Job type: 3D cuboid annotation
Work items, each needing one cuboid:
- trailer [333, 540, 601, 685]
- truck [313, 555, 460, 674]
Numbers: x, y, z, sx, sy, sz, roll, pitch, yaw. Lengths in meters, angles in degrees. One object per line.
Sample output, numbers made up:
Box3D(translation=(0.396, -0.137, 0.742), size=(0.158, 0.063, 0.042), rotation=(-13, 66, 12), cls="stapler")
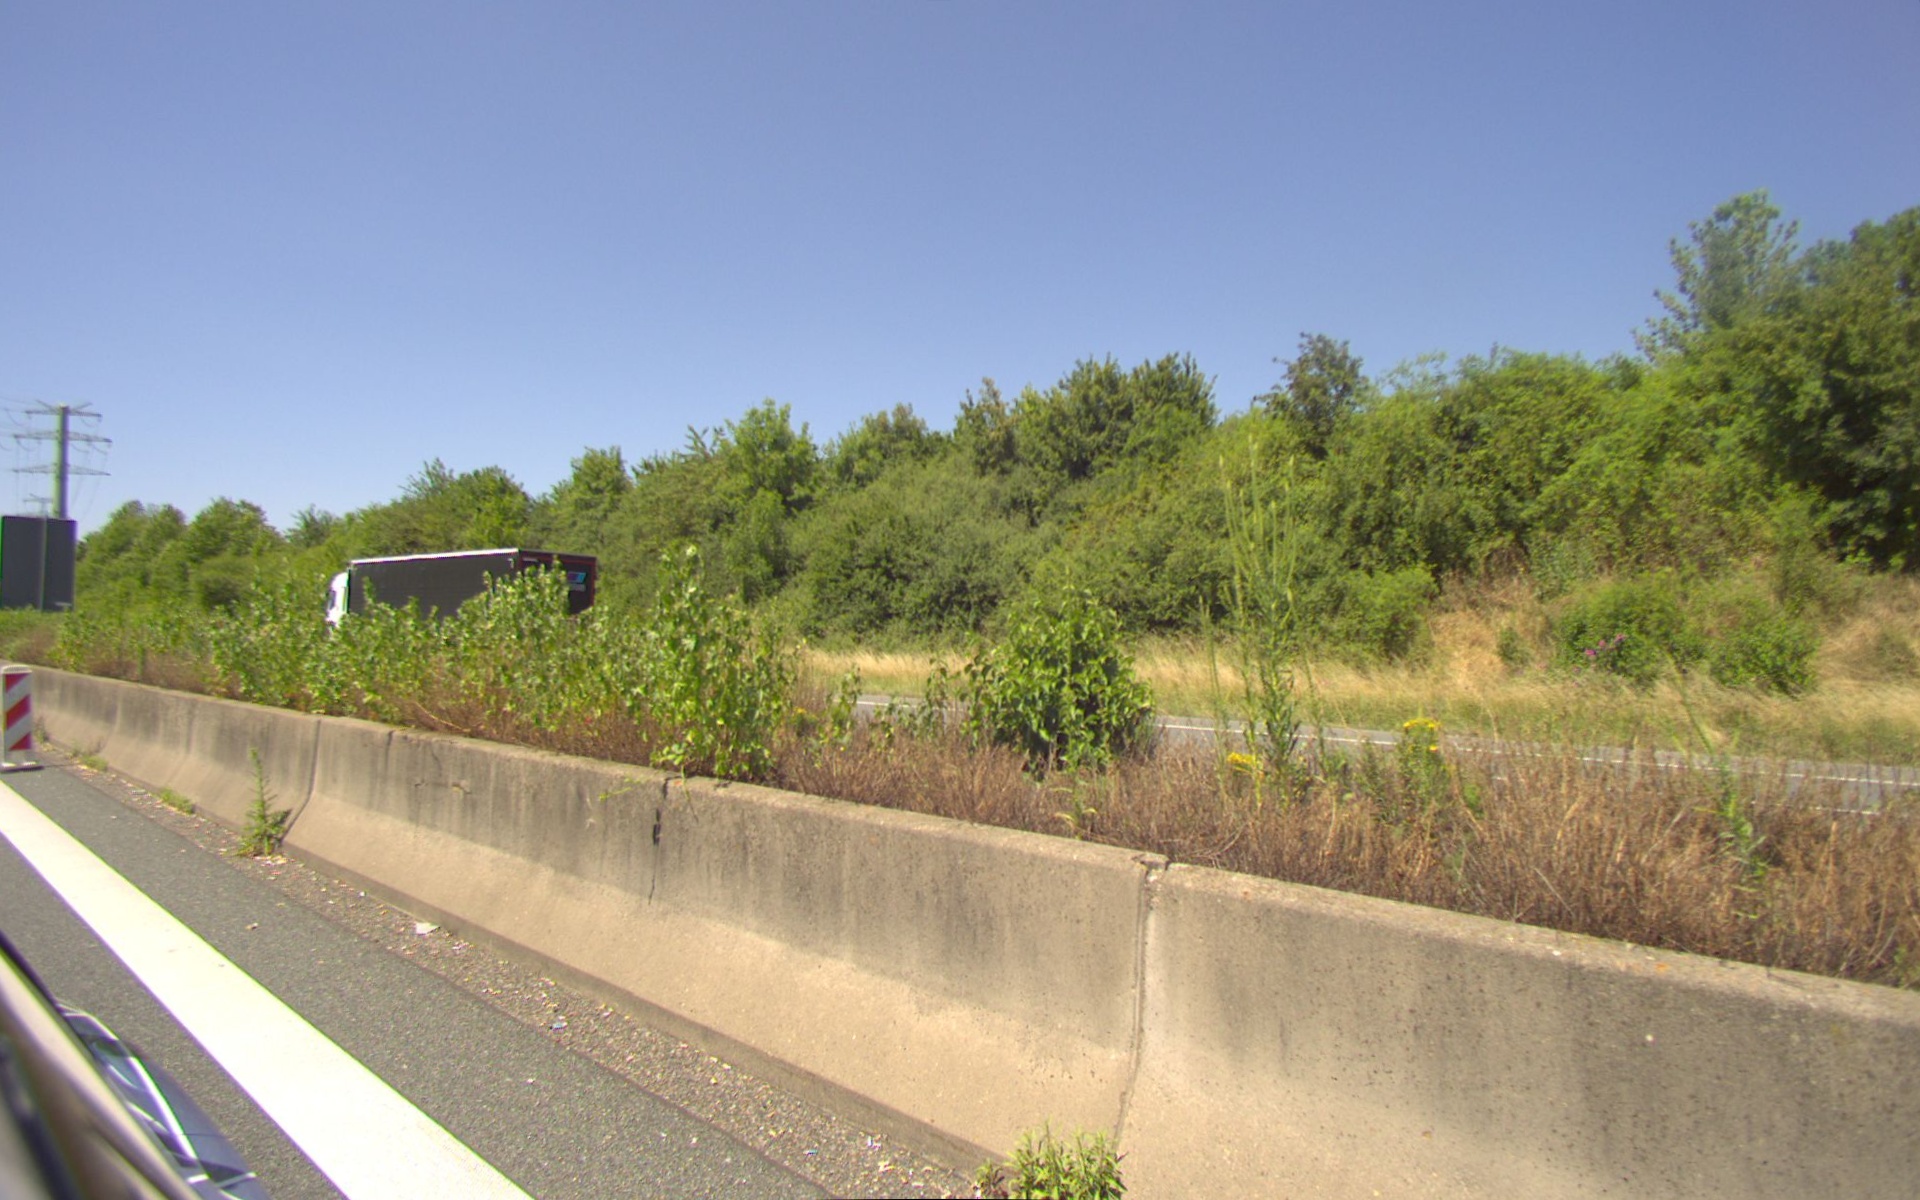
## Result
Box3D(translation=(-17.473, 0.540, 34.947), size=(14.188, 4.199, 2.724), rotation=(-1, -5, 41), cls="trailer")
Box3D(translation=(-22.218, 0.624, 39.060), size=(6.407, 4.199, 2.723), rotation=(-1, -5, 41), cls="truck")
